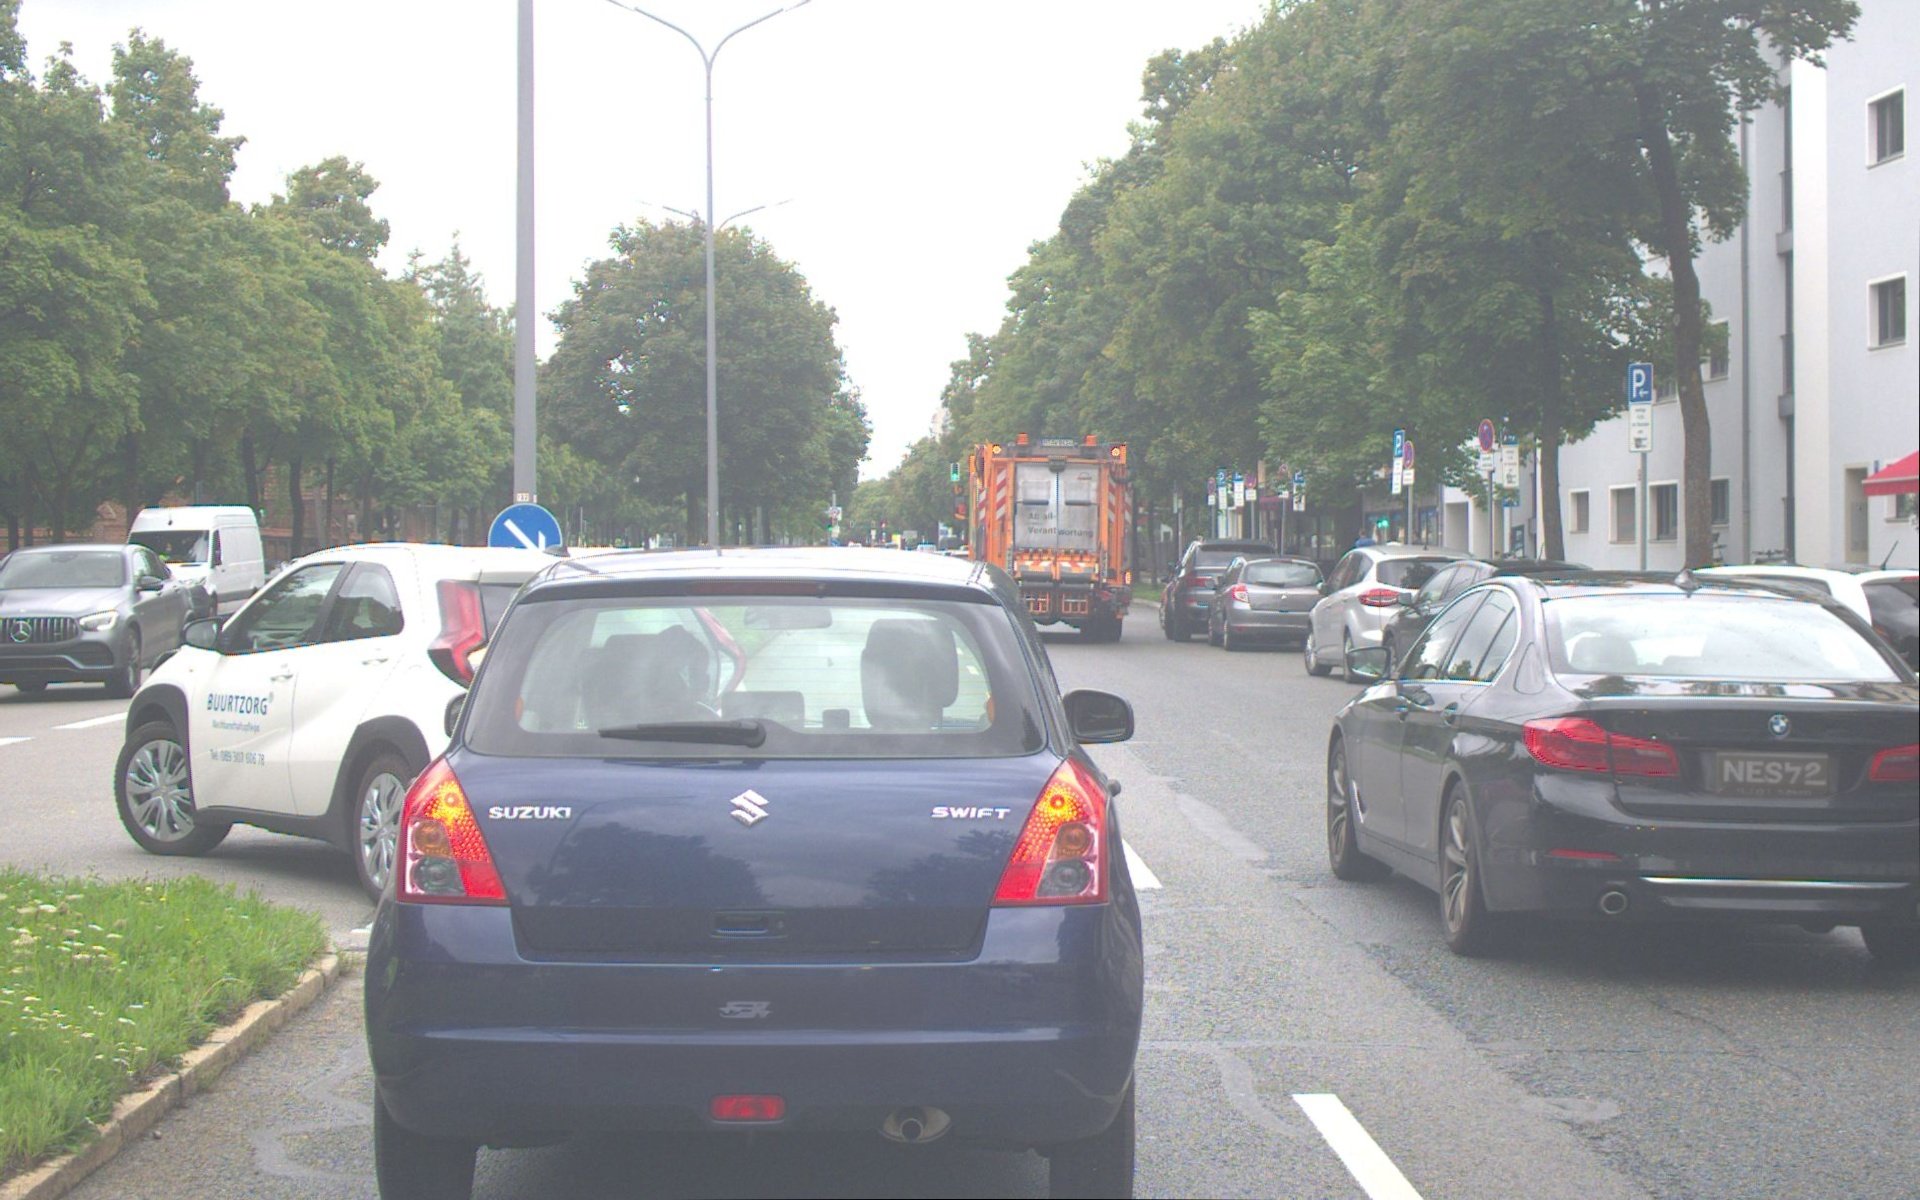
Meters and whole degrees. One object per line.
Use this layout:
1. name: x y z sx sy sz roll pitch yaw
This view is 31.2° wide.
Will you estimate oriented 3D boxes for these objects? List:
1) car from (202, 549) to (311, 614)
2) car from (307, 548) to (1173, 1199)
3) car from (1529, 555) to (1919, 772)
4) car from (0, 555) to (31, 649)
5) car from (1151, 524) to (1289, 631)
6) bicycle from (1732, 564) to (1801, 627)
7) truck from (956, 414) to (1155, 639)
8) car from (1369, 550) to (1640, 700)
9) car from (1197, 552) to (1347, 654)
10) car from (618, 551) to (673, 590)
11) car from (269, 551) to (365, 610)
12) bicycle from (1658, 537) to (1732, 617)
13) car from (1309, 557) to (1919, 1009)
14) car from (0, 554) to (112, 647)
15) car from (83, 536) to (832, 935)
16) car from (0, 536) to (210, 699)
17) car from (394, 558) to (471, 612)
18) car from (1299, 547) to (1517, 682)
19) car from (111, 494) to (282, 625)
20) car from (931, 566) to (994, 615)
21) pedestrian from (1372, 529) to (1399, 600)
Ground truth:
1. car: -16.564 -0.430 81.123 1.857 1.485 4.252 0 0 -2
2. car: -0.463 0.620 8.968 1.753 1.499 4.000 0 1 0
3. car: 6.096 0.418 25.701 1.687 1.485 3.434 -1 1 -36
4. car: -15.744 0.053 53.467 1.821 1.442 4.001 -2 1 -5
5. car: 4.399 -0.410 58.699 1.829 1.740 4.509 0 1 -2
6. bicycle: 13.691 -0.089 58.378 0.621 1.043 2.195 0 1 -1
7. truck: 1.506 -1.273 61.143 3.041 3.545 13.675 0 1 0
8. car: 5.581 0.217 35.703 1.829 1.468 3.889 0 1 -6
9. car: 4.815 0.013 53.492 1.829 1.517 3.771 0 1 -2
10. car: -12.052 -1.149 131.993 1.815 1.443 4.783 -1 1 -2
11. car: -16.578 -0.498 88.760 1.857 1.485 4.142 0 0 -2
12. bicycle: 13.439 -0.436 62.932 0.702 1.402 2.593 -2 1 -1
13. car: 2.653 0.600 14.026 1.821 1.472 4.691 2 1 -1
14. car: -16.005 0.020 59.270 1.821 1.522 4.299 -2 0 -2
15. car: -2.357 0.490 15.391 1.822 1.548 3.720 -1 1 -35
16. car: -9.281 0.133 36.261 1.821 1.584 4.502 0 1 -1
17. car: -16.597 -0.489 108.317 1.886 1.532 4.315 -3 1 -3
18. car: 5.273 0.132 41.000 1.829 1.517 4.524 0 1 -2
19. car: -16.302 -0.914 73.804 2.139 2.634 7.106 -2 1 -1
20. car: 0.069 -0.317 108.824 1.829 1.517 3.771 0 1 -2
21. pedestrian: 10.440 -0.871 84.375 0.499 1.727 0.733 -2 1 -1
